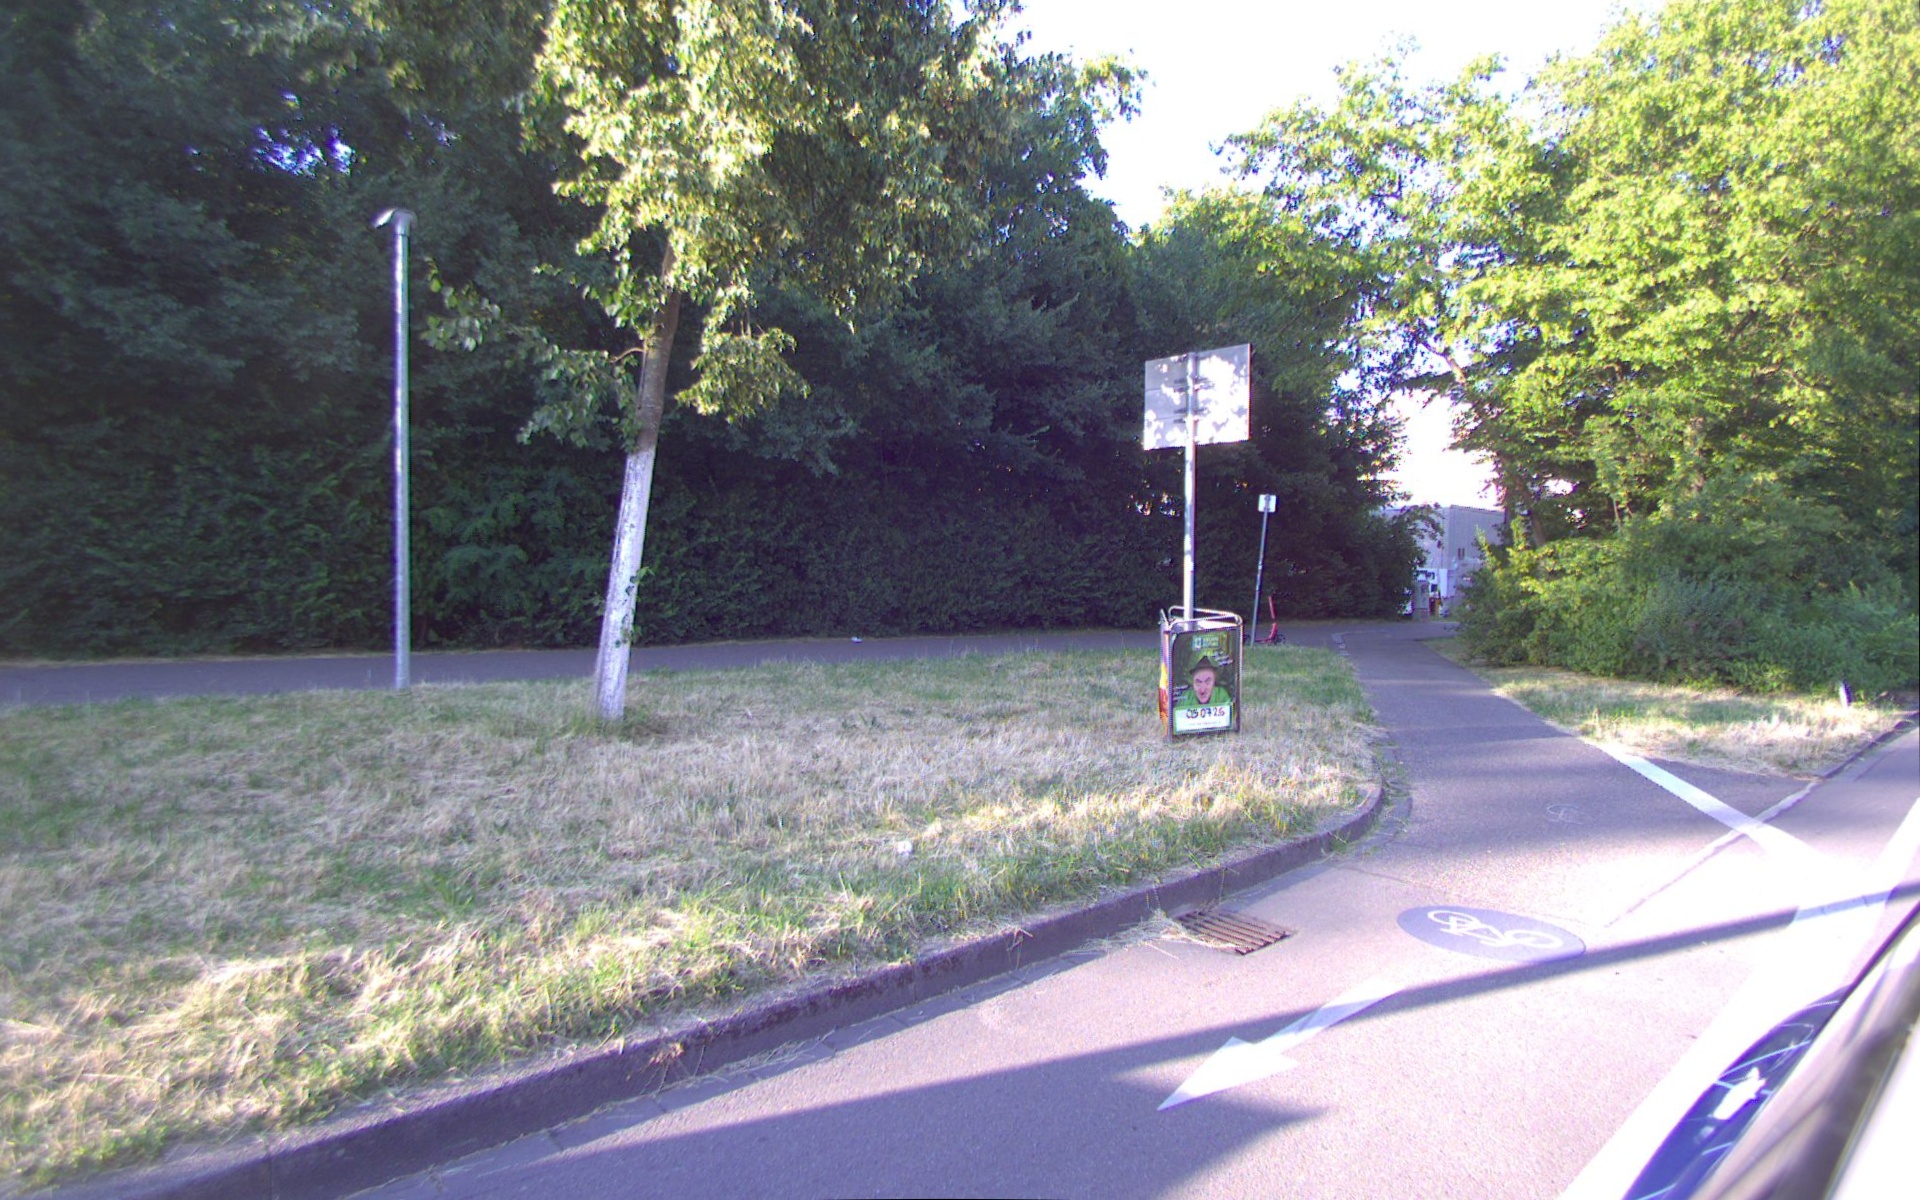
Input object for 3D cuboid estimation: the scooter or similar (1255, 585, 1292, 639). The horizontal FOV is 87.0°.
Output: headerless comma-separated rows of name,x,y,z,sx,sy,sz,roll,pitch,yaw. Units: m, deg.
scooter or similar,6.418,0.244,20.729,0.819,1.100,0.194,1,-1,-26
